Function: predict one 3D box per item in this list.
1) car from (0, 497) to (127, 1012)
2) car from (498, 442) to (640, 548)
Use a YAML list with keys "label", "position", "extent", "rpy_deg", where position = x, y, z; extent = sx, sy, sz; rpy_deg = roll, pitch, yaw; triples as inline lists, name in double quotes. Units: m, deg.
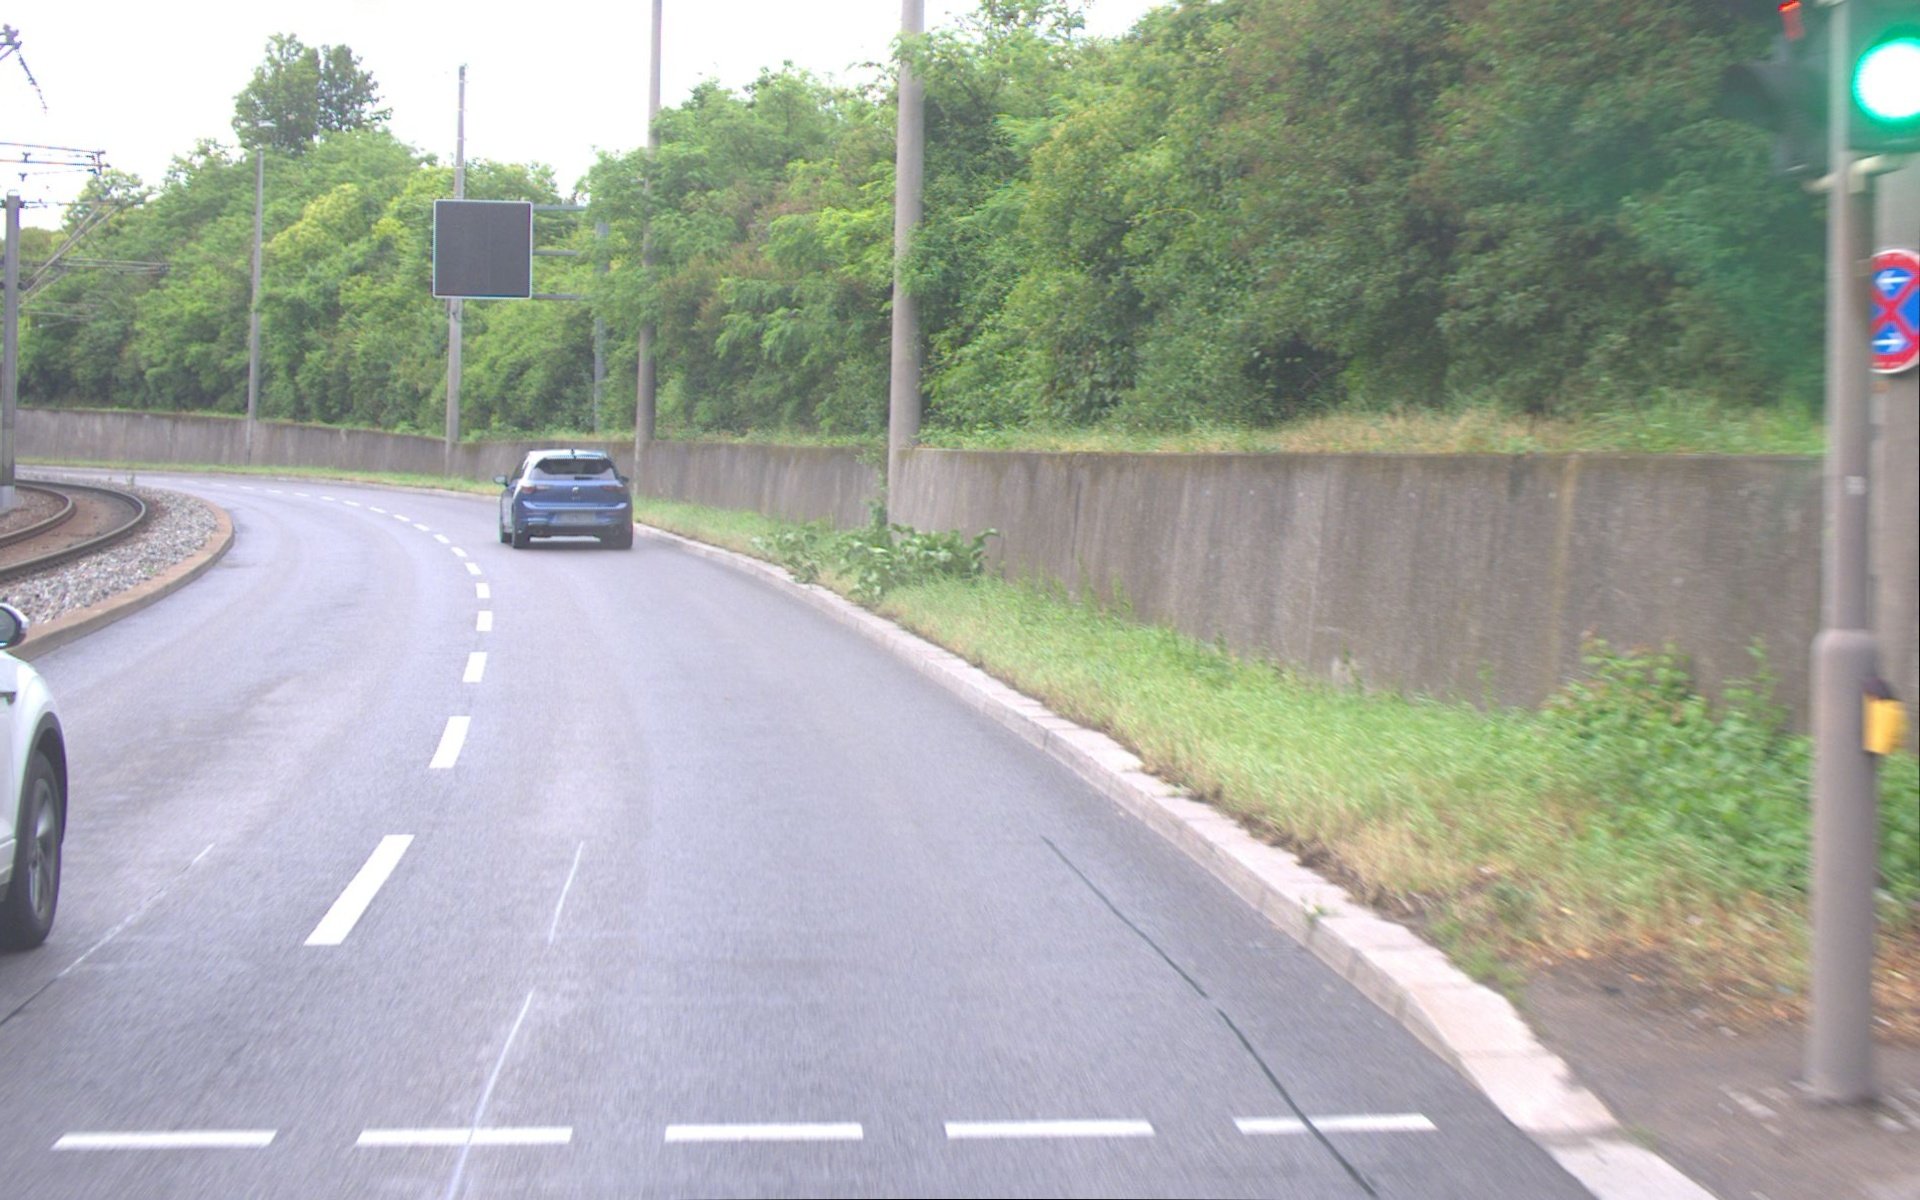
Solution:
- label: "car"
  position: [-3.796, 0.486, 10.009]
  extent: [1.871, 1.519, 4.541]
  rpy_deg: [0, 2, -3]
- label: "car"
  position: [-5.888, -1.599, 51.460]
  extent: [1.763, 1.496, 4.002]
  rpy_deg: [1, 2, -11]
